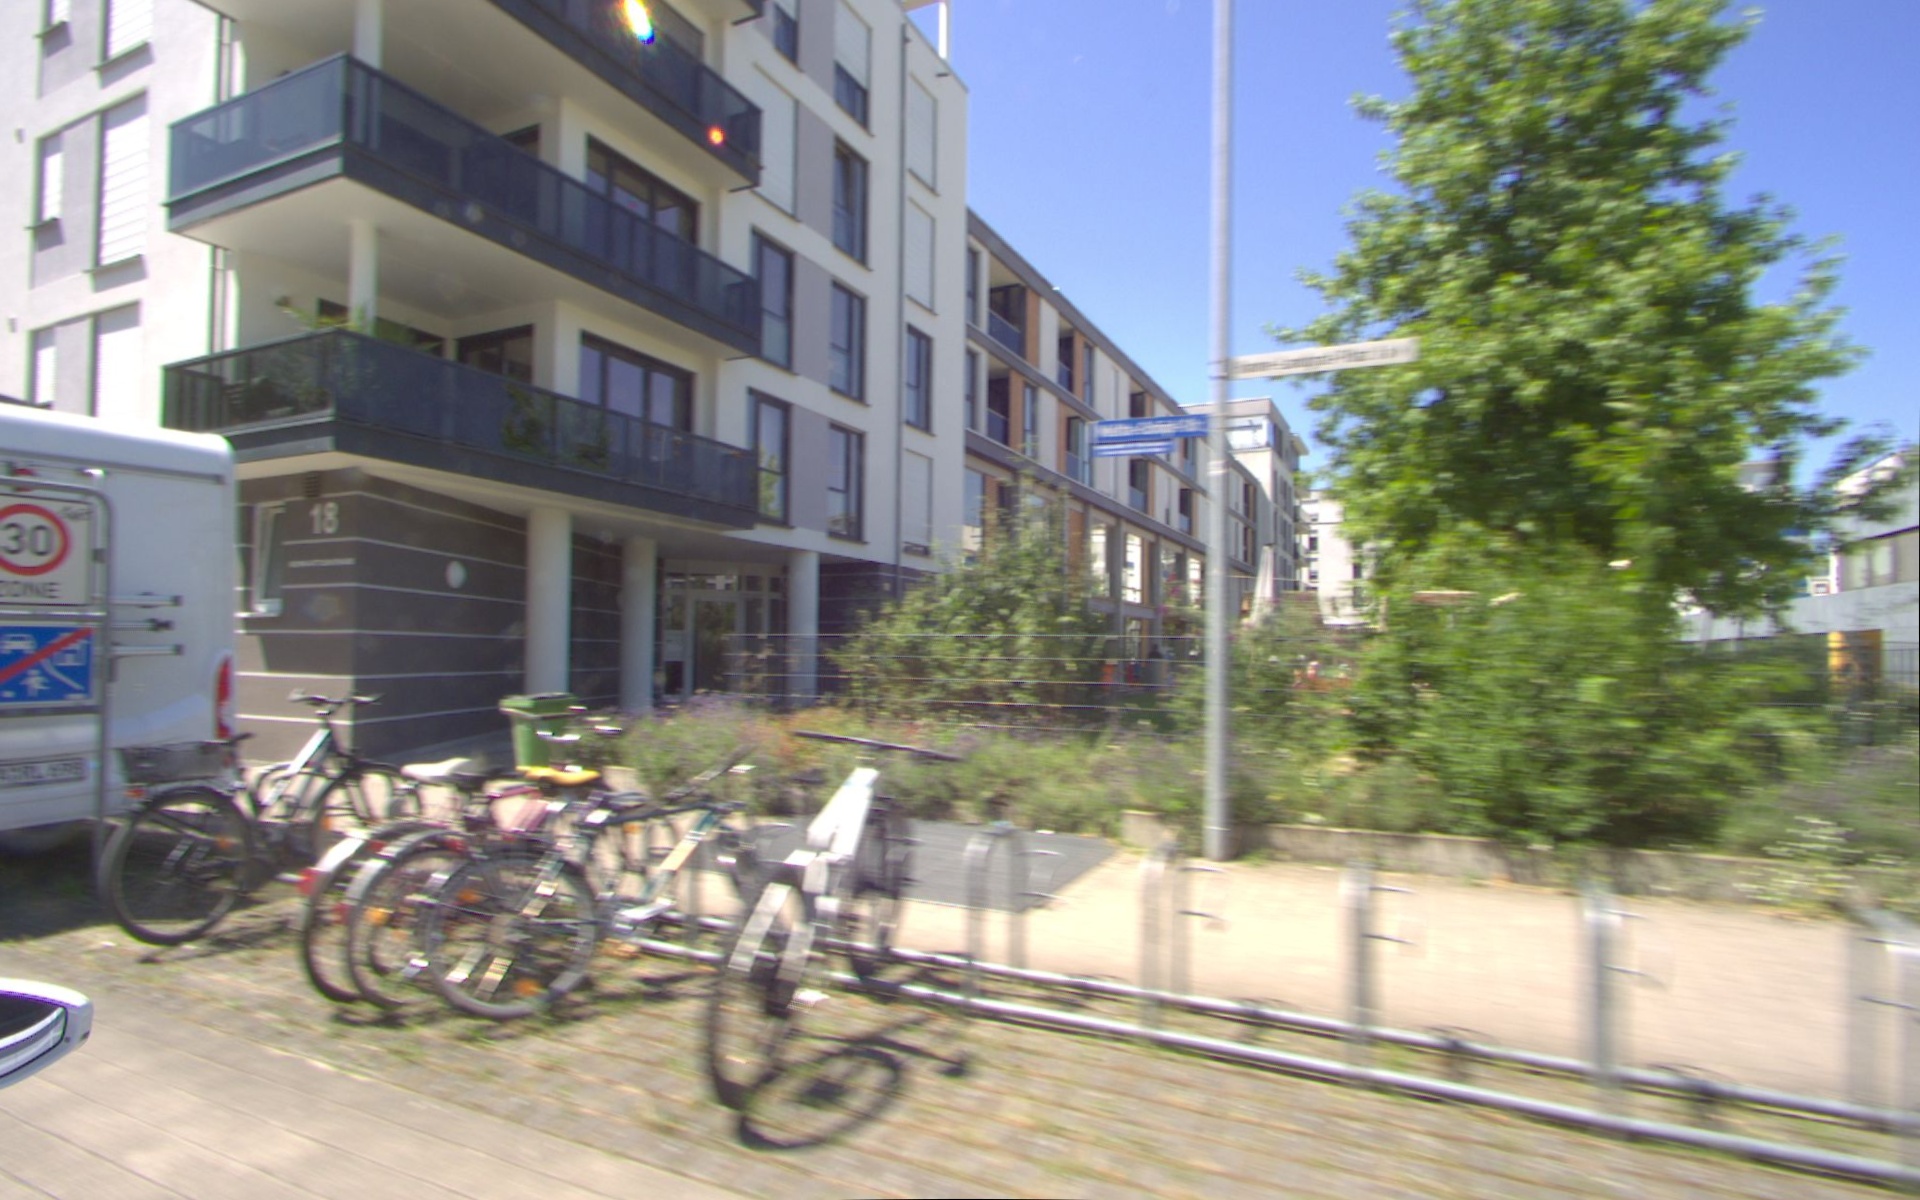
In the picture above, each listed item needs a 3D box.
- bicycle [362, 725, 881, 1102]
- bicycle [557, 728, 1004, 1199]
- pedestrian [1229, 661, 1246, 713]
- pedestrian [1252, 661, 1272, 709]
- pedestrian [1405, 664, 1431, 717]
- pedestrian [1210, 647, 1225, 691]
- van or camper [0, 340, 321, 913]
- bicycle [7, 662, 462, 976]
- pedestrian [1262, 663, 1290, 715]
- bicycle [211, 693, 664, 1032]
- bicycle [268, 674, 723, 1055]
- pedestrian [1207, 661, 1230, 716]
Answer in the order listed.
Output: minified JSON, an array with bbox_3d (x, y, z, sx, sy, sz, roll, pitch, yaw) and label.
[{"bbox_3d":[-1.298,1.112,4.164,0.934,0.987,1.846,-1,-2,39],"label":"bicycle"},{"bbox_3d":[-0.470,1.089,3.712,0.859,1.016,2.032,0,-2,15],"label":"bicycle"},{"bbox_3d":[5.356,1.681,19.338,0.243,0.998,0.281,0,-4,33],"label":"pedestrian"},{"bbox_3d":[6.424,1.810,21.308,0.404,0.998,0.370,1,-3,16],"label":"pedestrian"},{"bbox_3d":[9.157,1.805,20.019,0.406,1.037,0.281,3,-4,-31],"label":"pedestrian"},{"bbox_3d":[9.187,2.464,35.761,0.454,1.527,0.397,1,-2,5],"label":"pedestrian"},{"bbox_3d":[-8.243,0.236,7.182,7.701,2.941,2.440,-1,-3,26],"label":"van or camper"},{"bbox_3d":[-3.662,1.004,5.323,0.811,1.239,1.921,1,0,11],"label":"bicycle"},{"bbox_3d":[6.143,1.727,19.460,0.408,0.998,0.367,5,-4,-44],"label":"pedestrian"},{"bbox_3d":[-2.214,1.033,4.558,0.468,1.124,1.883,0,-2,28],"label":"bicycle"},{"bbox_3d":[-1.880,0.979,4.395,0.547,1.238,1.849,0,-2,28],"label":"bicycle"},{"bbox_3d":[4.770,1.625,18.482,0.321,0.998,0.326,0,-4,33],"label":"pedestrian"}]
